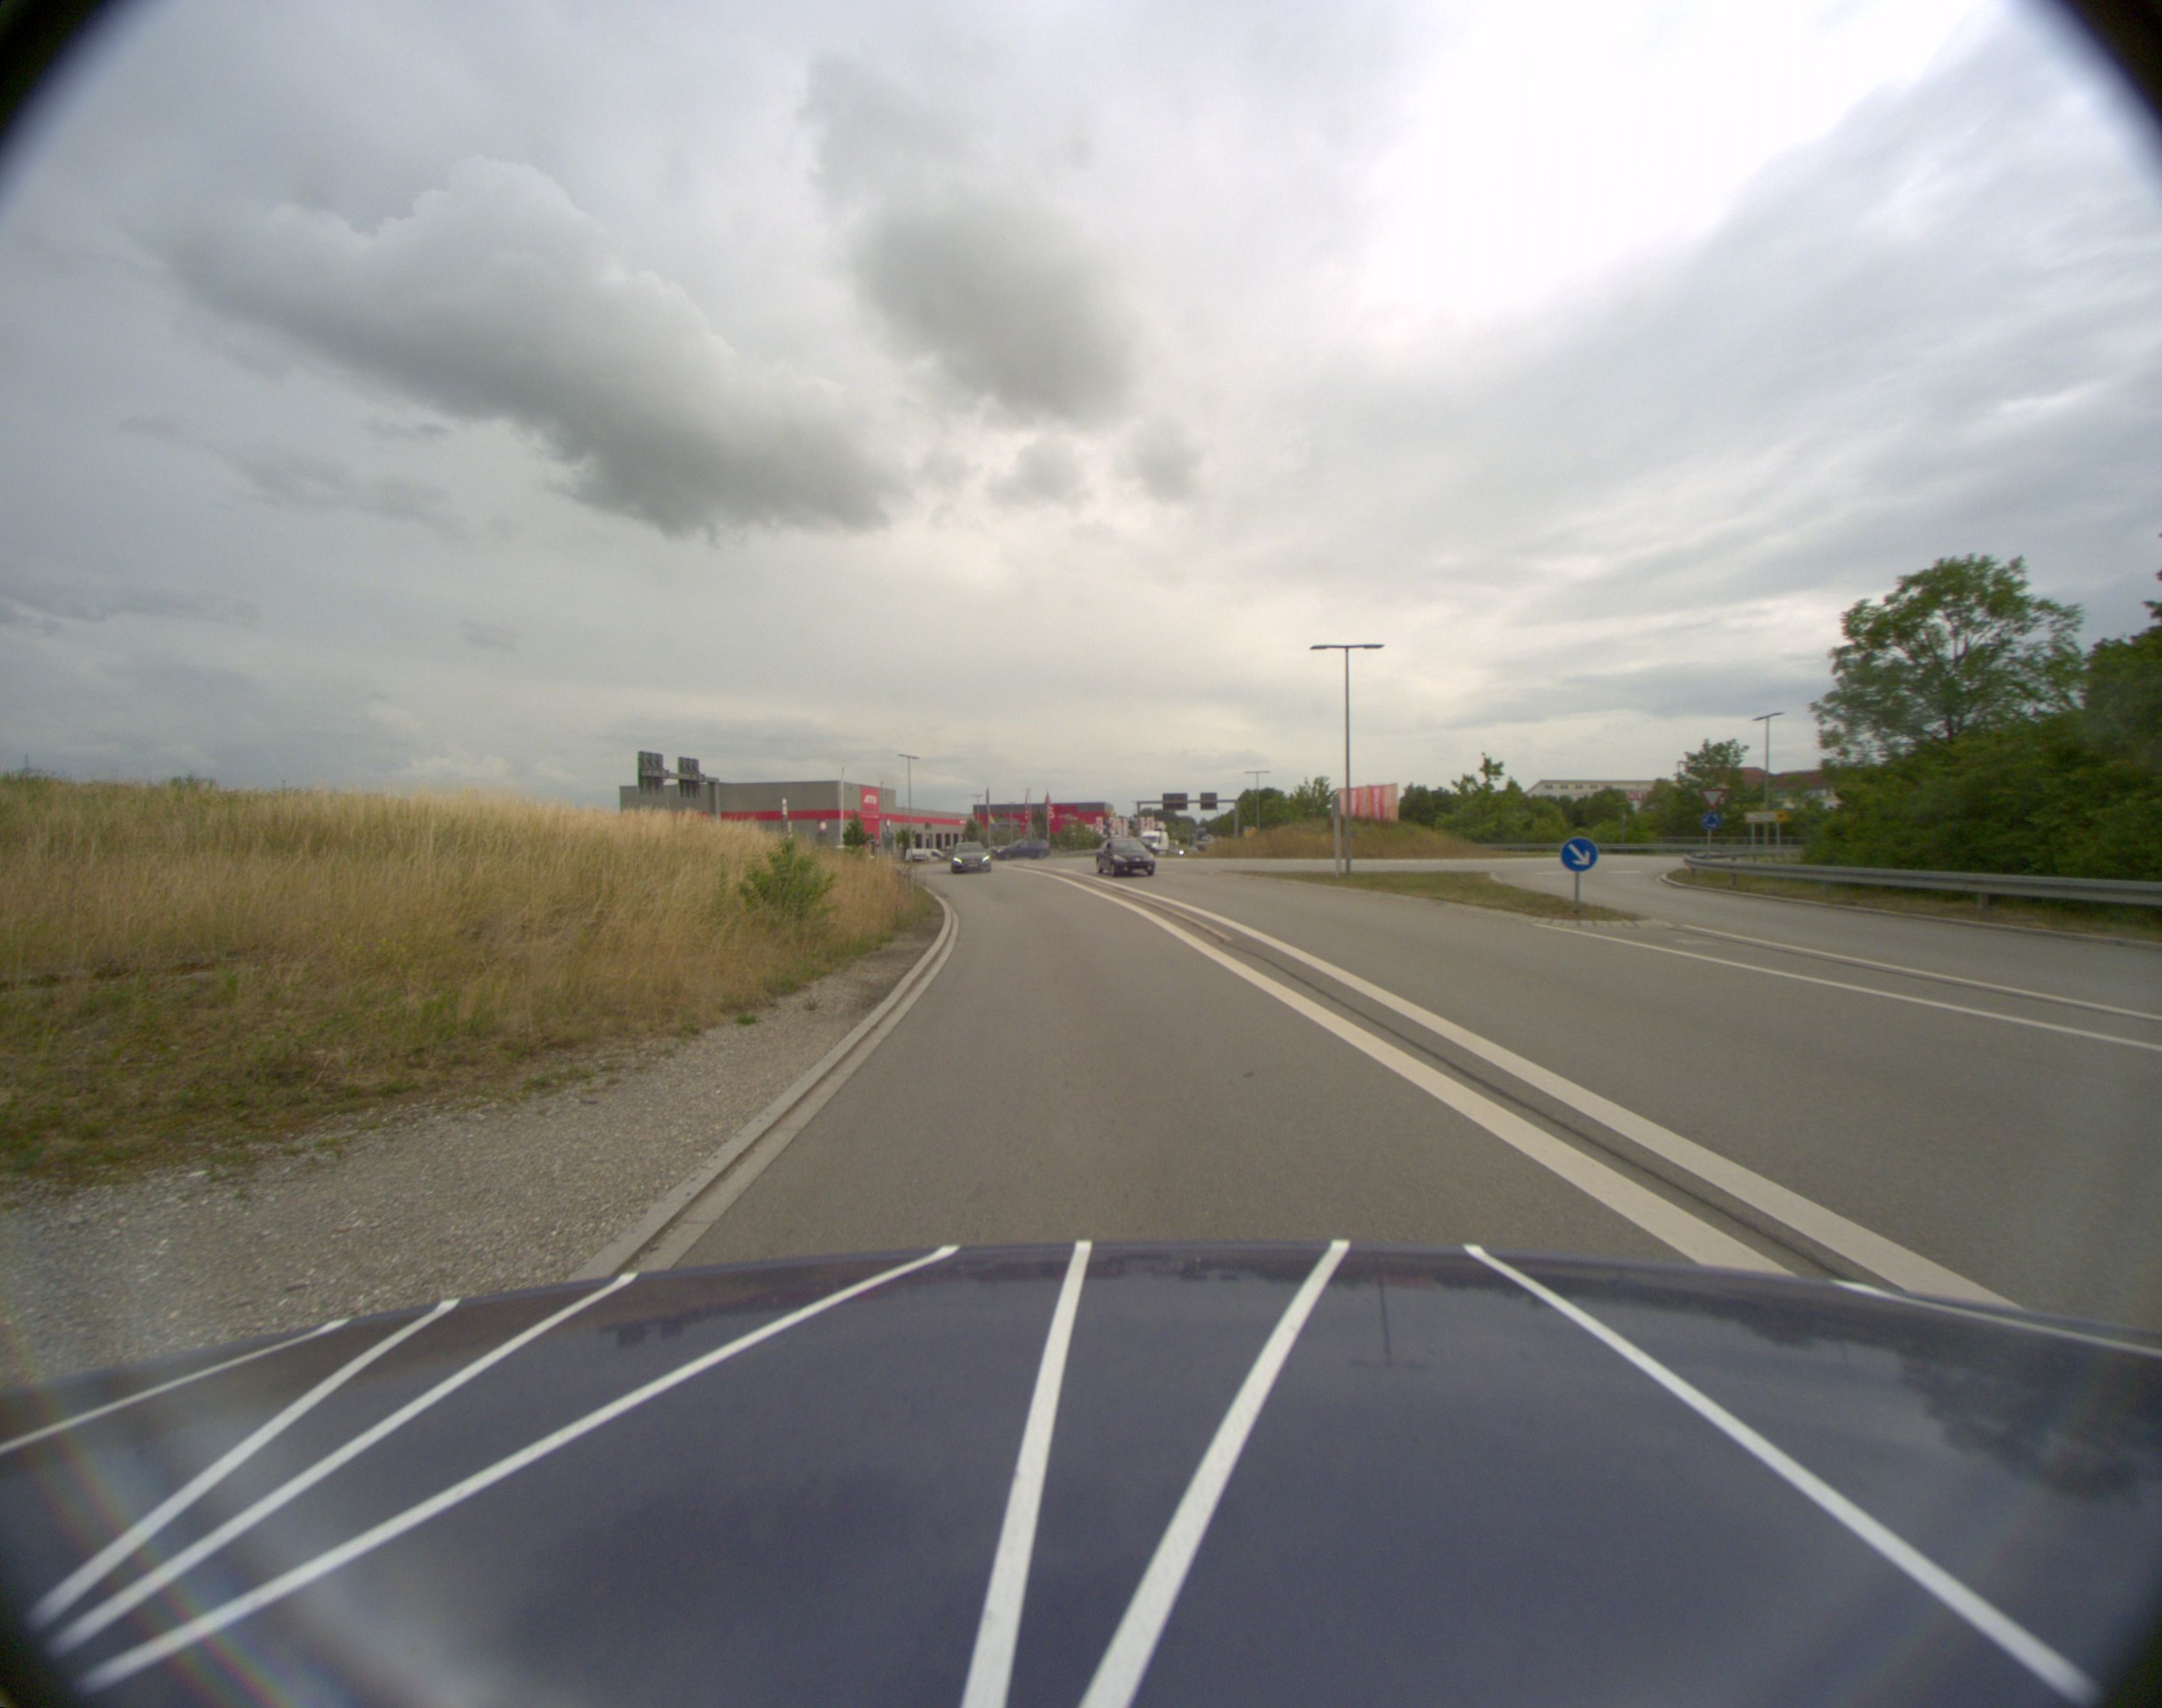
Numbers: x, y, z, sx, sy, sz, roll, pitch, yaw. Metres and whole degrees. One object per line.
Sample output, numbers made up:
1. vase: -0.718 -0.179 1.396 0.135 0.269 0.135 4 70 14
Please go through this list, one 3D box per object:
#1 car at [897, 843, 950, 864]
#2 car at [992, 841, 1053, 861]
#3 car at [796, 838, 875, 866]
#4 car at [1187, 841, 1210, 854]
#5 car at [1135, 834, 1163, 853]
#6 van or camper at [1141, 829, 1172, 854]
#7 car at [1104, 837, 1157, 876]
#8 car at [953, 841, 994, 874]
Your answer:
1. car: -16.547 -0.035 79.859 5.074 2.036 2.000 -2 1 3
2. car: -4.734 -0.270 61.951 4.561 1.404 1.857 -3 2 -22
3. car: -15.541 -0.134 48.122 4.418 1.620 1.786 -1 3 18
4. car: 19.893 -1.120 128.946 2.106 1.781 5.043 -1 3 -12
5. car: 4.996 -0.755 55.647 1.578 1.261 3.316 -2 2 12
6. van or camper: 7.736 -1.297 77.708 2.049 2.351 5.546 -2 2 17
7. car: 1.983 0.056 31.423 1.580 1.347 3.820 -3 3 -4
8. car: -5.291 0.107 37.741 1.765 1.412 4.088 -3 2 -5
